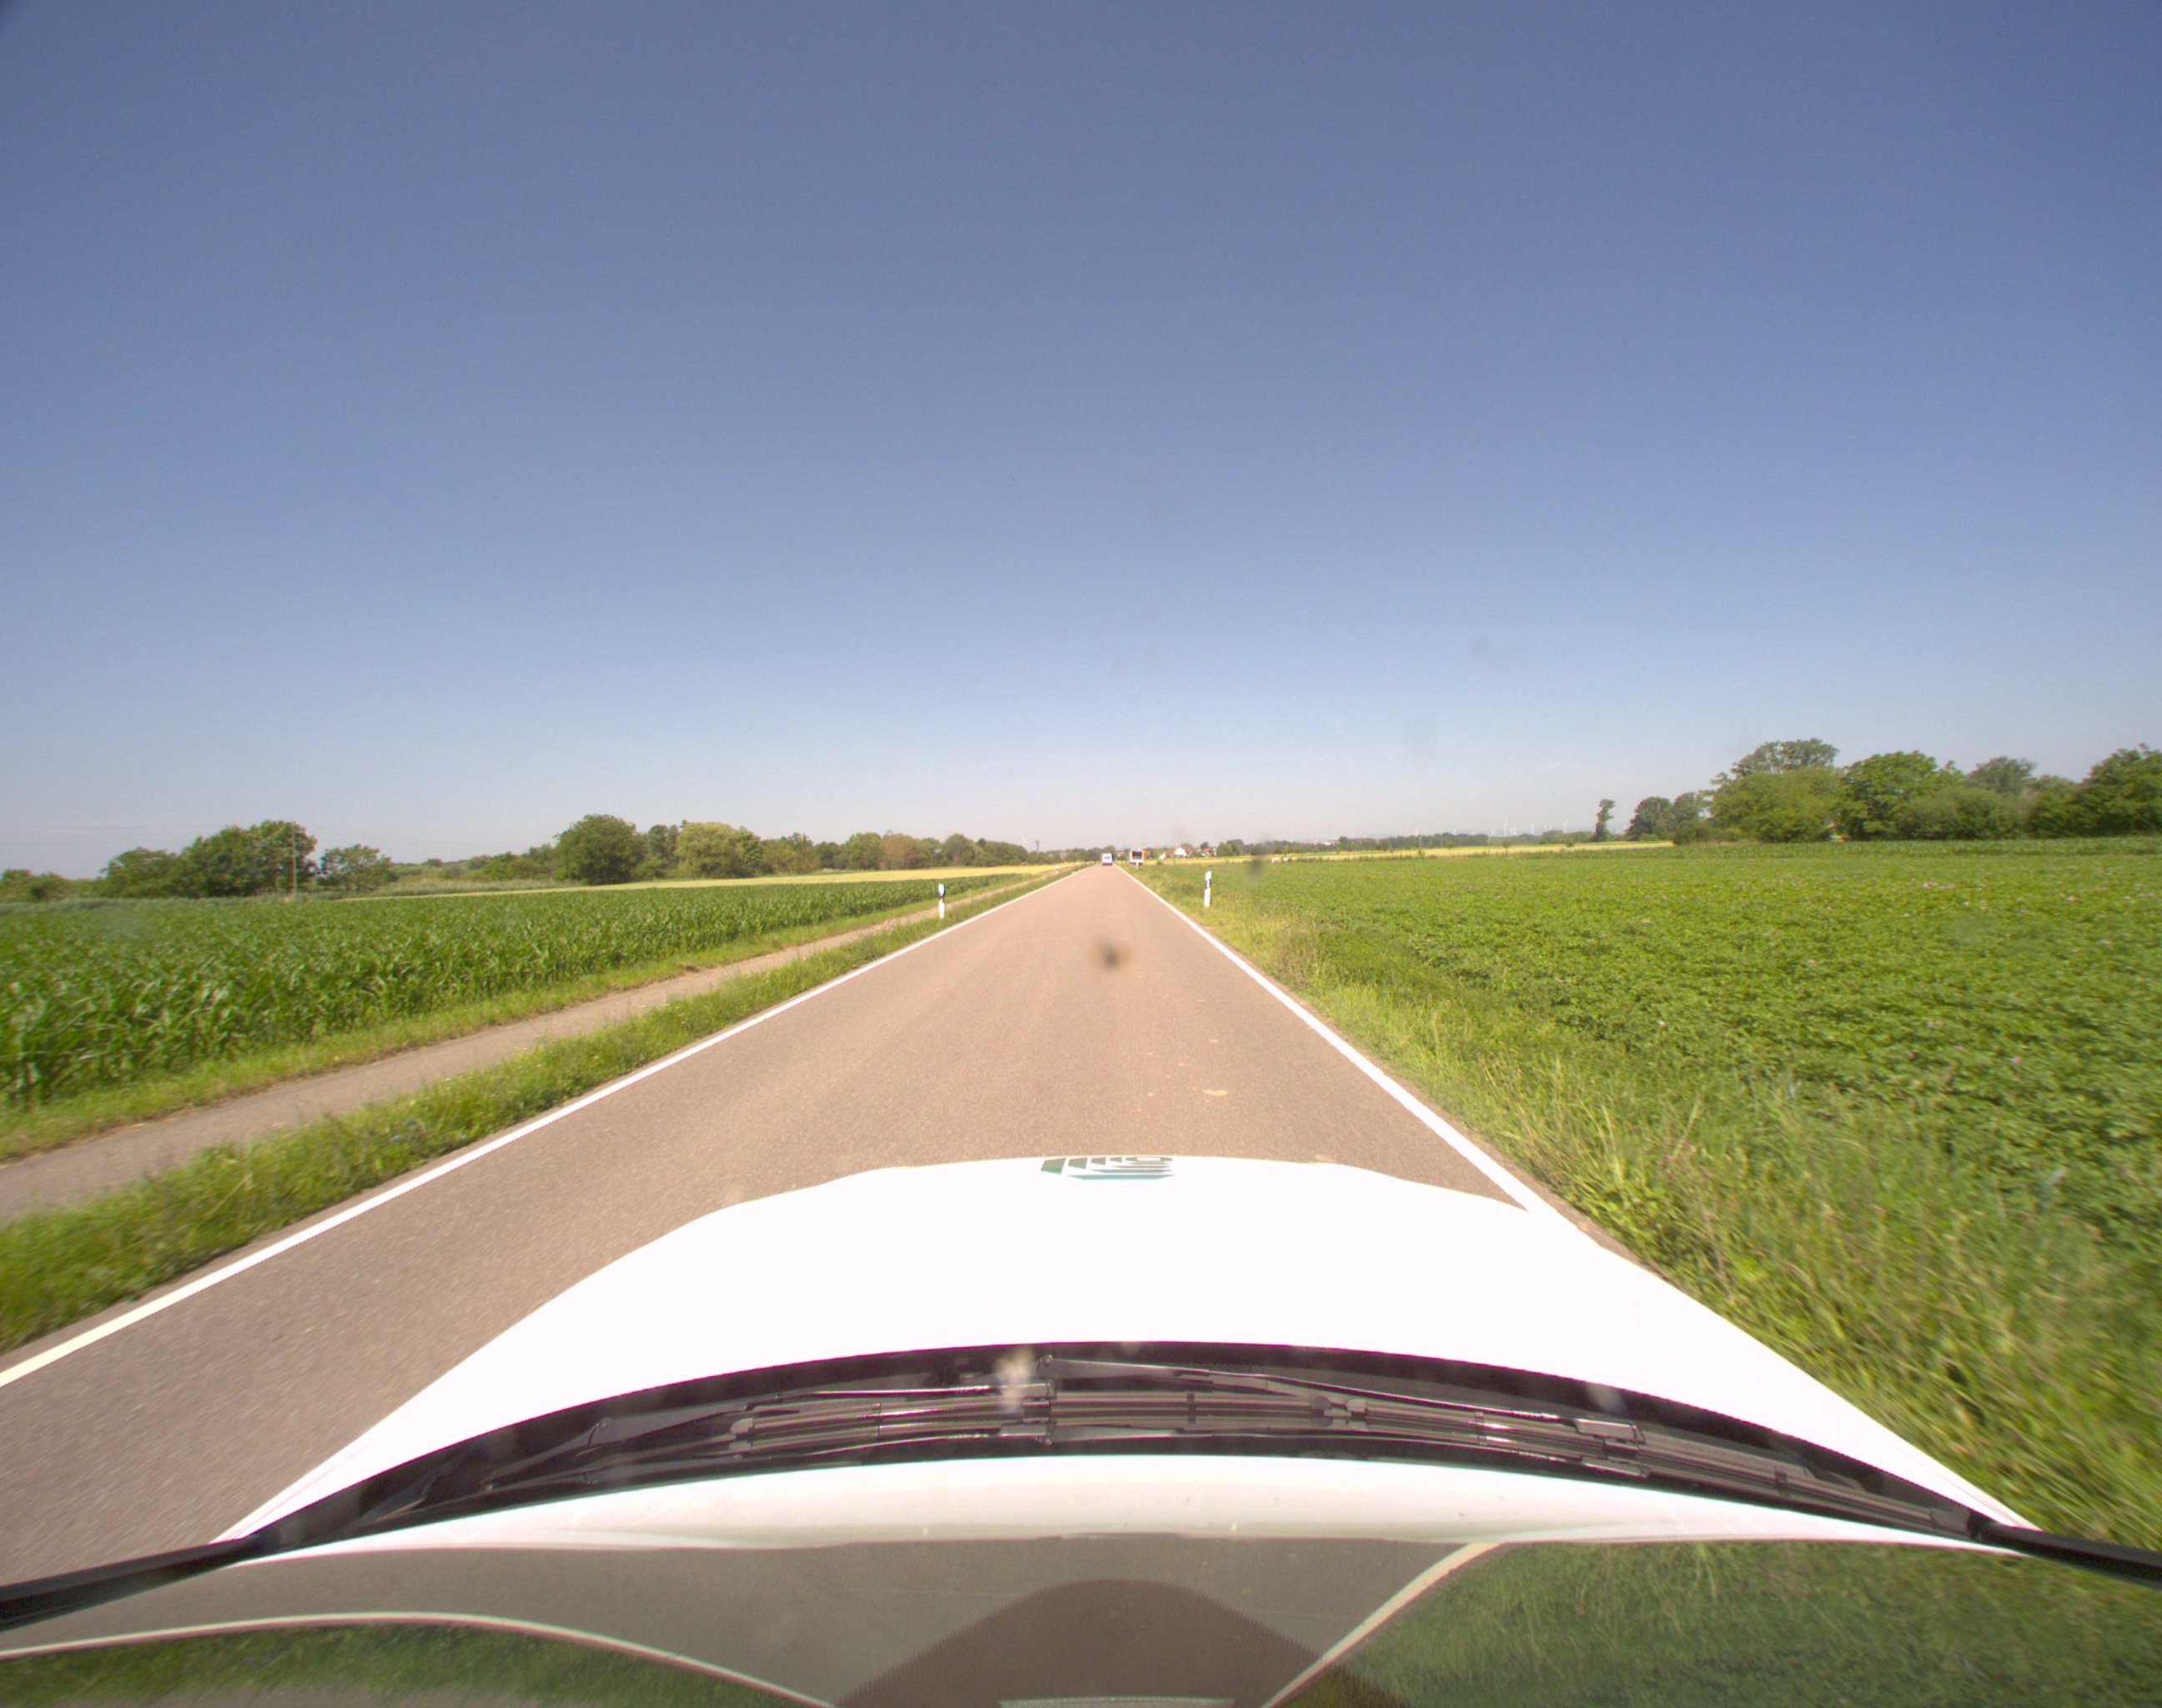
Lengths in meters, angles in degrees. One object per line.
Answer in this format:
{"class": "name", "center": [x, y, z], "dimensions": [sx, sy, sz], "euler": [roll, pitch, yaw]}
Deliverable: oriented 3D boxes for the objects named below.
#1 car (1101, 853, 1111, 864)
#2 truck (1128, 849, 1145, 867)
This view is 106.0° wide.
{"class": "car", "center": [5.146, 1.004, 169.168], "dimensions": [2.099, 2.304, 5.497], "euler": [0, -1, 2]}
{"class": "truck", "center": [9.705, 0.732, 142.566], "dimensions": [2.328, 2.942, 7.007], "euler": [1, -1, 0]}
